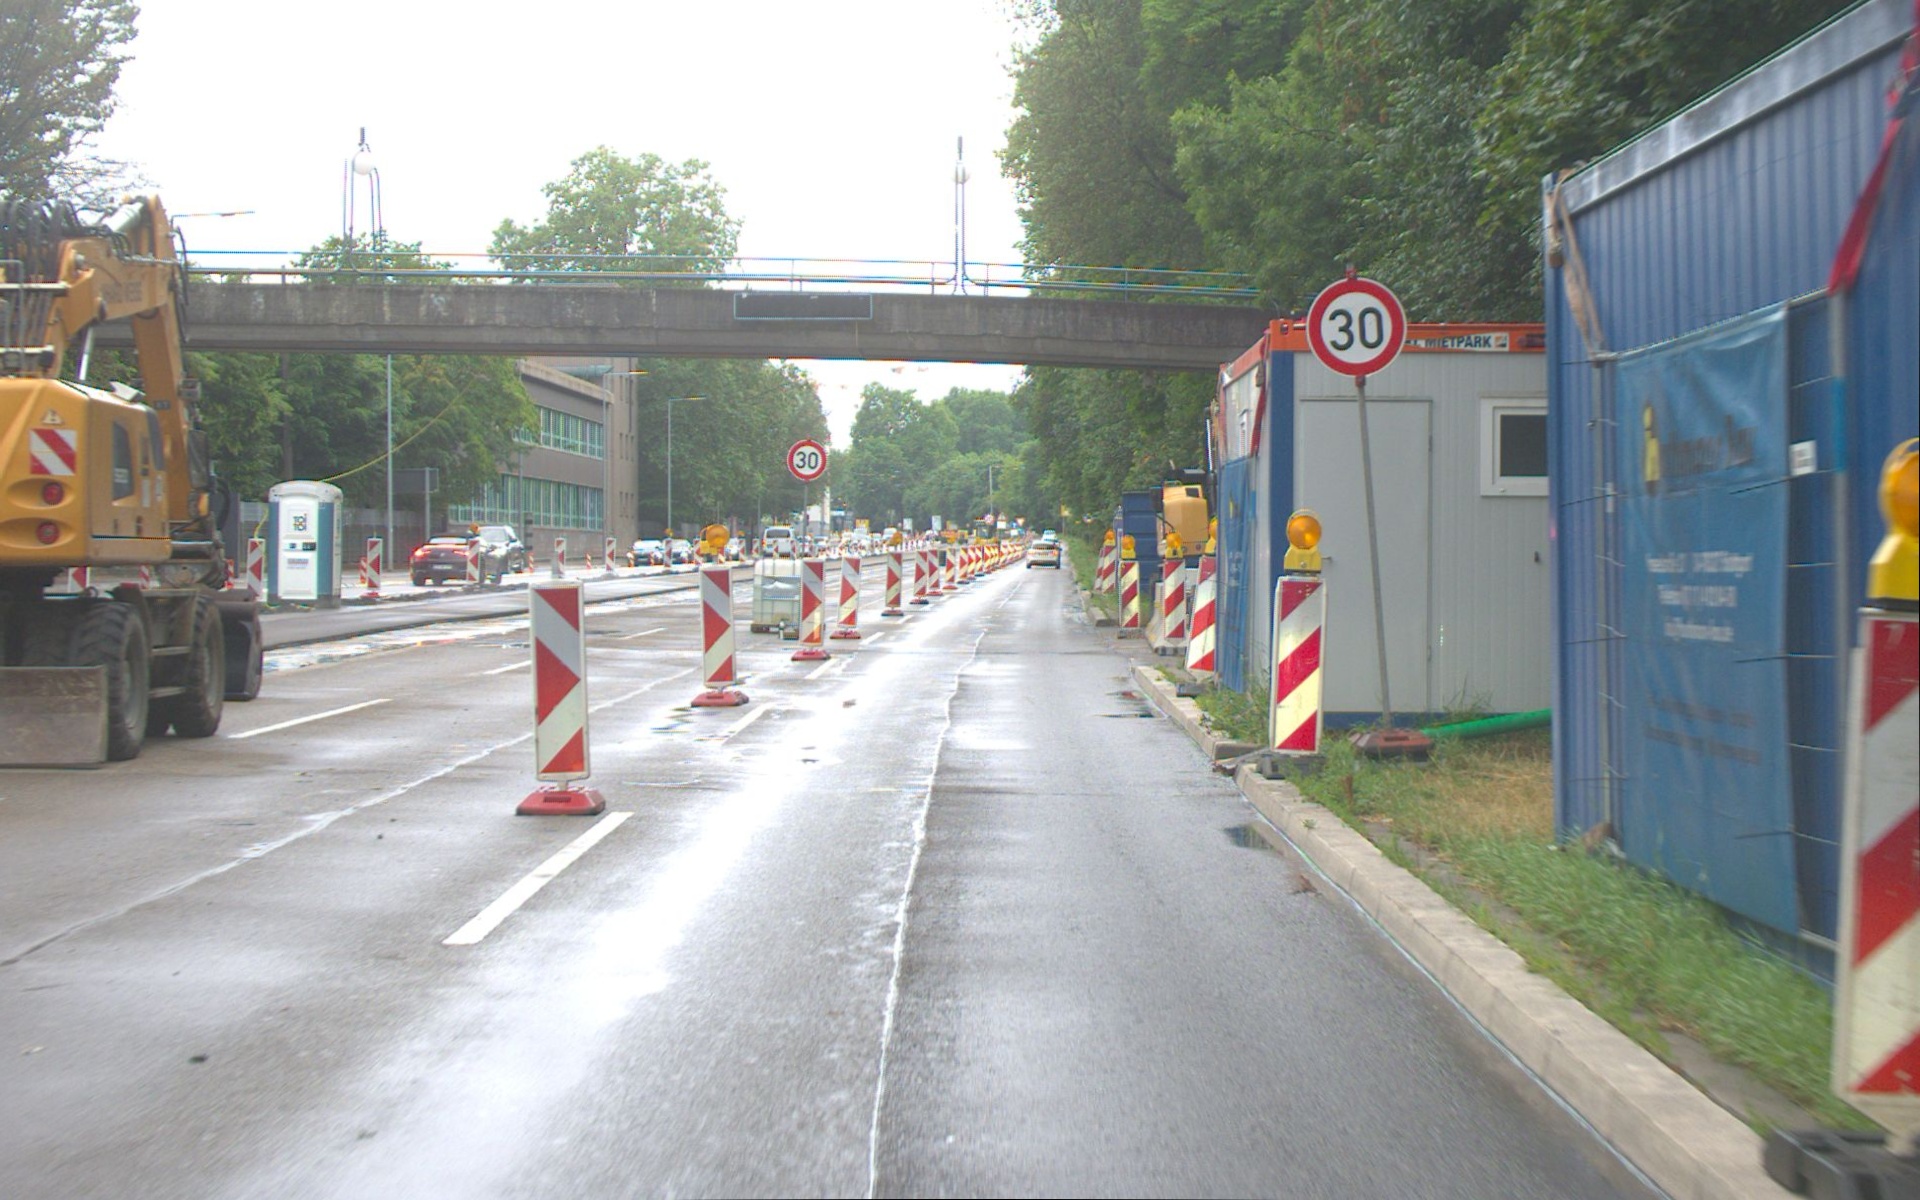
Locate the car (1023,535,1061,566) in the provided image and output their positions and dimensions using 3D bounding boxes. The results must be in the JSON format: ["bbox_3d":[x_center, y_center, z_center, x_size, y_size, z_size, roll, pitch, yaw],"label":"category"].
[{"bbox_3d":[4.404,-2.682,184.355,1.993,1.634,4.000,0,1,1],"label":"car"}]

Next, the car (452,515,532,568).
[{"bbox_3d":[-16.263,-2.037,119.643,1.971,1.800,4.607,0,1,2],"label":"car"}]

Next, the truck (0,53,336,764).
[{"bbox_3d":[-6.846,-1.286,25.944,2.897,4.244,10.758,1,1,-4],"label":"truck"}]
